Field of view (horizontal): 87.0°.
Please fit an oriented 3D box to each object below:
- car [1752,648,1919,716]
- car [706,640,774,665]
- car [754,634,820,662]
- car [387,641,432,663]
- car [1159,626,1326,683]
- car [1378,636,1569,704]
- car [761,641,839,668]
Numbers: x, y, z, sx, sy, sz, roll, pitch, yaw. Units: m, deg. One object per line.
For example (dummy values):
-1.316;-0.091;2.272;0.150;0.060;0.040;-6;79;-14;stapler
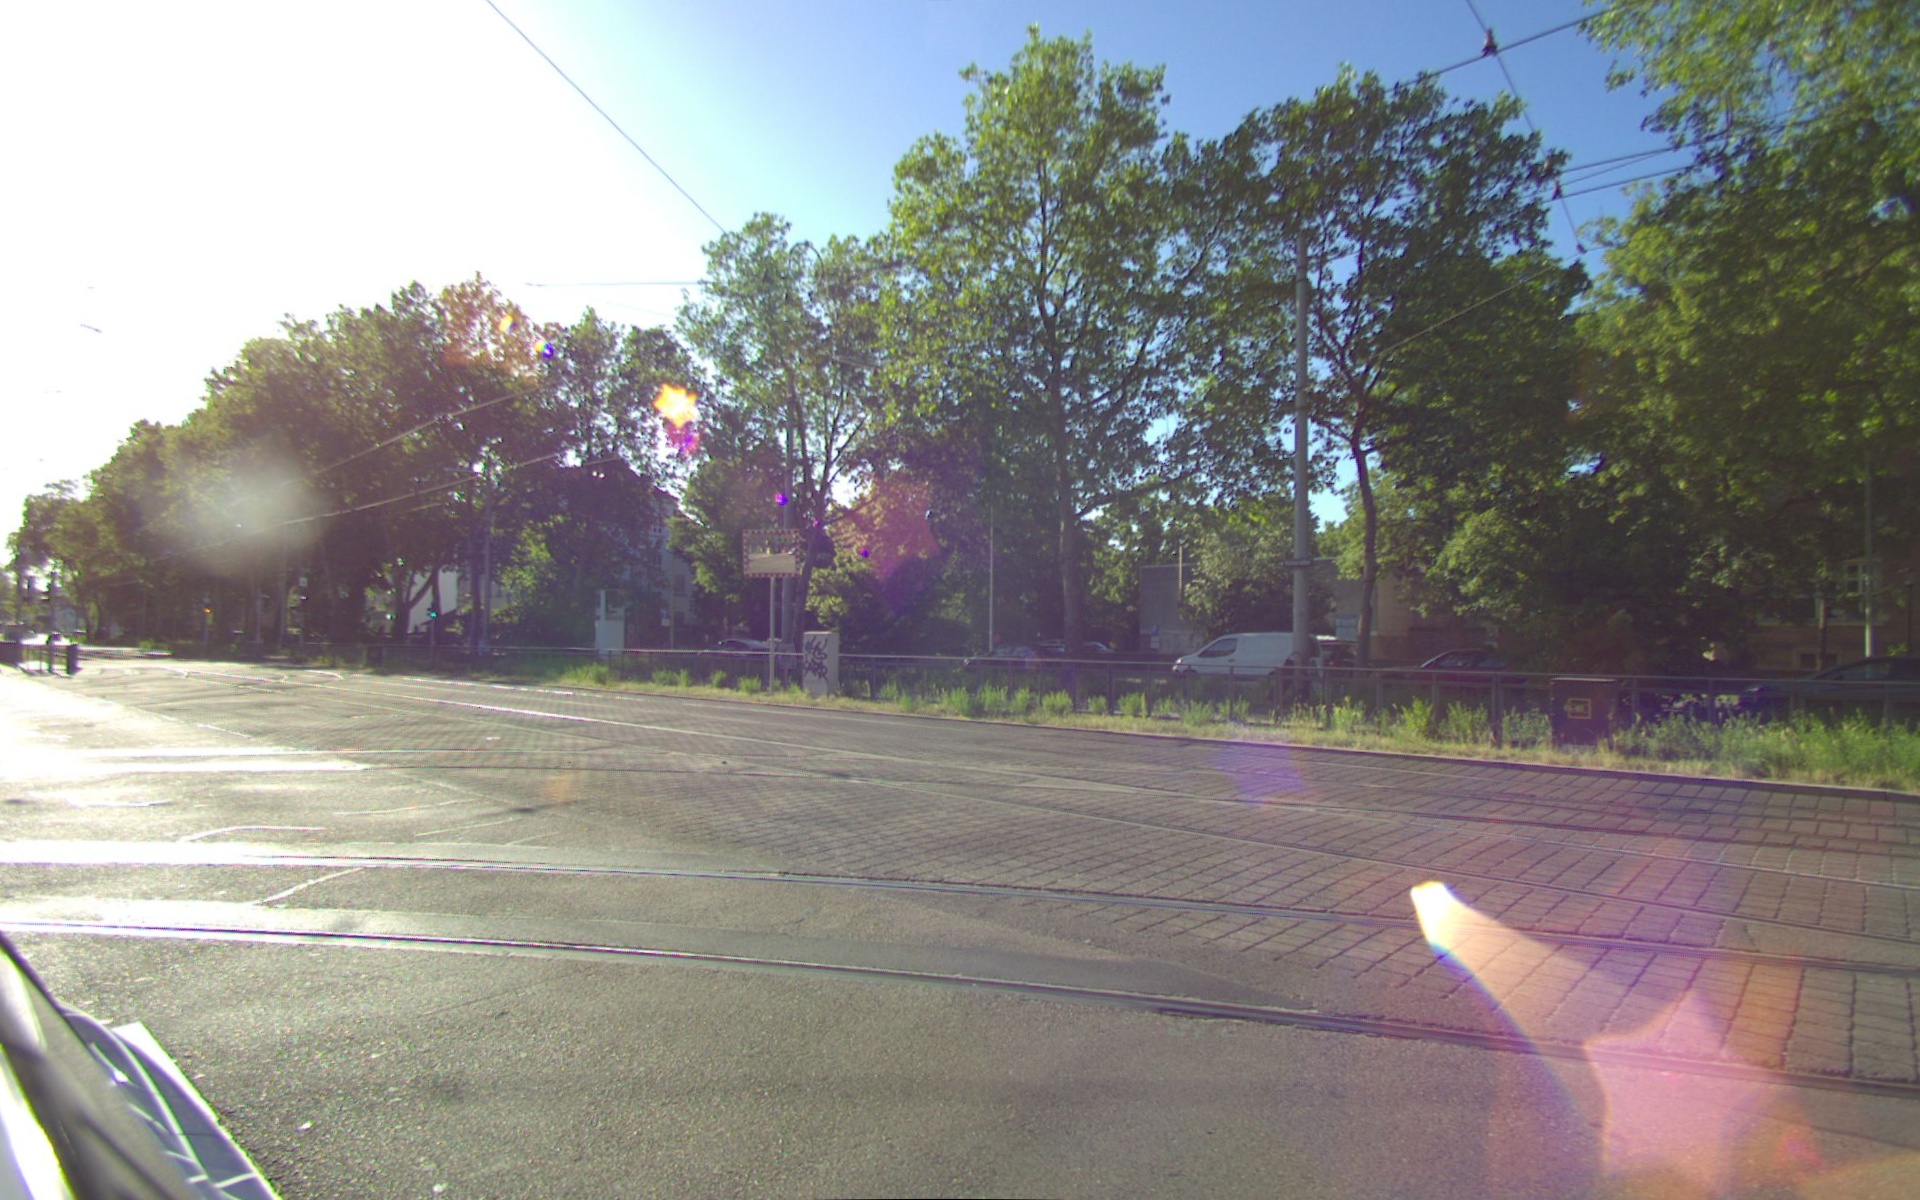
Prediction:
17.868;1.567;19.654;3.763;1.231;1.602;-2;-3;43;car
-9.973;2.363;45.785;3.129;1.057;1.483;-2;-1;43;car
-9.754;2.674;56.862;3.740;1.482;1.722;-2;-1;43;car
-40.850;3.832;75.050;3.754;1.482;1.700;-2;-1;41;car
8.139;1.562;29.419;4.347;1.482;1.722;-2;-1;44;car
12.465;1.652;24.710;1.573;1.482;3.824;-1;-1;-44;car
-6.824;2.305;42.946;3.405;1.037;1.464;-2;-1;43;car
